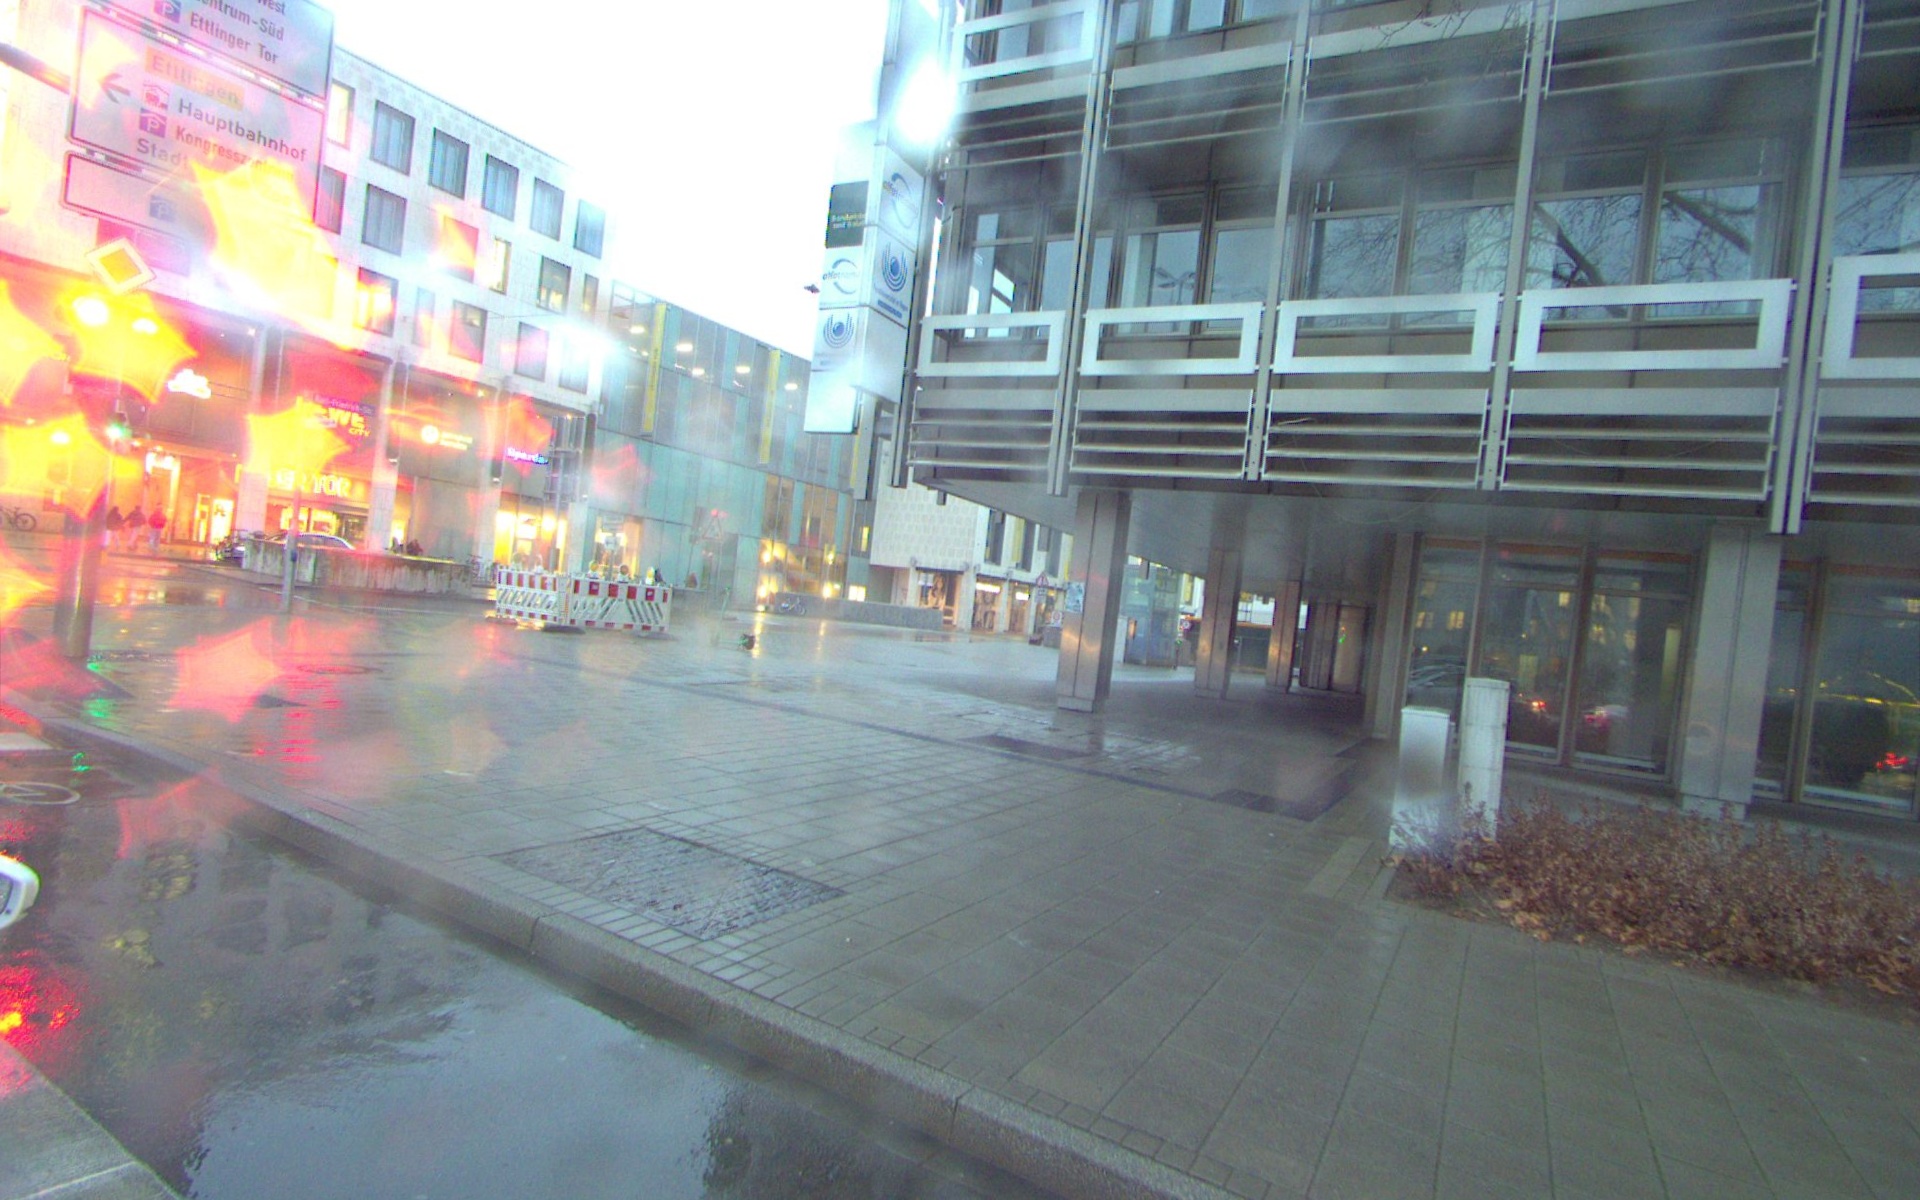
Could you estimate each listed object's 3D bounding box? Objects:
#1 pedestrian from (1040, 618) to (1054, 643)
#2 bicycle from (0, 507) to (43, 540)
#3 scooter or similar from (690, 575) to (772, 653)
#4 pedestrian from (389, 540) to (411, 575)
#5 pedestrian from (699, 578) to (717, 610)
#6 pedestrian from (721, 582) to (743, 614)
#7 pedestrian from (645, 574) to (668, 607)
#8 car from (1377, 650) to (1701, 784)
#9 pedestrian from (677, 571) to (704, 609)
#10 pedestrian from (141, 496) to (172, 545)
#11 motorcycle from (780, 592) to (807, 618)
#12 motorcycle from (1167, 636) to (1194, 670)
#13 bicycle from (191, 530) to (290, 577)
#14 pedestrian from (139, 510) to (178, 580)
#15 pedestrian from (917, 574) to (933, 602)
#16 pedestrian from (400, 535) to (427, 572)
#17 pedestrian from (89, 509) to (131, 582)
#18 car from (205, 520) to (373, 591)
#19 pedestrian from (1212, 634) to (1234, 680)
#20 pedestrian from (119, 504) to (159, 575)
[{"bbox_3d":[6.192,2.153,71.404,0.573,1.703,0.542,6,-1,38],"label":"pedestrian"},{"bbox_3d":[-36.418,-2.983,38.587,0.515,1.082,1.651,7,-2,28],"label":"bicycle"},{"bbox_3d":[-4.602,0.274,20.187,1.470,1.368,0.593,7,-1,32],"label":"scooter or similar"},{"bbox_3d":[-26.054,-1.976,46.844,0.511,1.512,0.586,6,0,34],"label":"pedestrian"},{"bbox_3d":[-14.121,-0.349,56.363,0.573,1.703,0.542,6,-1,38],"label":"pedestrian"},{"bbox_3d":[-13.114,-0.134,57.860,0.770,1.703,0.742,6,-1,38],"label":"pedestrian"},{"bbox_3d":[-17.197,-0.548,57.025,0.770,1.703,0.742,6,-1,38],"label":"pedestrian"},{"bbox_3d":[8.707,1.680,15.350,3.935,1.327,1.994,6,1,33],"label":"car"},{"bbox_3d":[-12.771,-0.471,47.698,0.770,1.703,0.742,6,-1,38],"label":"pedestrian"},{"bbox_3d":[-36.228,-3.582,45.348,0.688,2.039,0.845,7,1,40],"label":"pedestrian"},{"bbox_3d":[-10.129,0.295,61.167,0.585,1.368,1.491,7,-1,36],"label":"motorcycle"},{"bbox_3d":[9.693,2.350,44.204,0.584,1.368,1.493,7,-1,29],"label":"motorcycle"},{"bbox_3d":[-26.335,-1.684,36.875,0.941,1.375,2.718,6,-1,28],"label":"bicycle"},{"bbox_3d":[-30.016,-2.049,37.670,0.778,2.477,0.694,7,-1,32],"label":"pedestrian"},{"bbox_3d":[-2.239,-0.782,64.025,0.573,1.703,0.542,6,-1,38],"label":"pedestrian"},{"bbox_3d":[-26.503,-2.246,48.766,0.519,1.705,0.894,6,0,31],"label":"pedestrian"},{"bbox_3d":[-30.474,-1.957,36.059,0.745,2.469,0.716,7,-1,31],"label":"pedestrian"},{"bbox_3d":[-21.704,-1.409,32.680,1.967,1.636,3.994,6,-2,33],"label":"car"},{"bbox_3d":[10.739,2.333,41.036,0.678,1.796,0.660,7,-1,16],"label":"pedestrian"},{"bbox_3d":[-30.003,-2.208,36.750,0.745,2.469,0.691,7,-1,31],"label":"pedestrian"}]
